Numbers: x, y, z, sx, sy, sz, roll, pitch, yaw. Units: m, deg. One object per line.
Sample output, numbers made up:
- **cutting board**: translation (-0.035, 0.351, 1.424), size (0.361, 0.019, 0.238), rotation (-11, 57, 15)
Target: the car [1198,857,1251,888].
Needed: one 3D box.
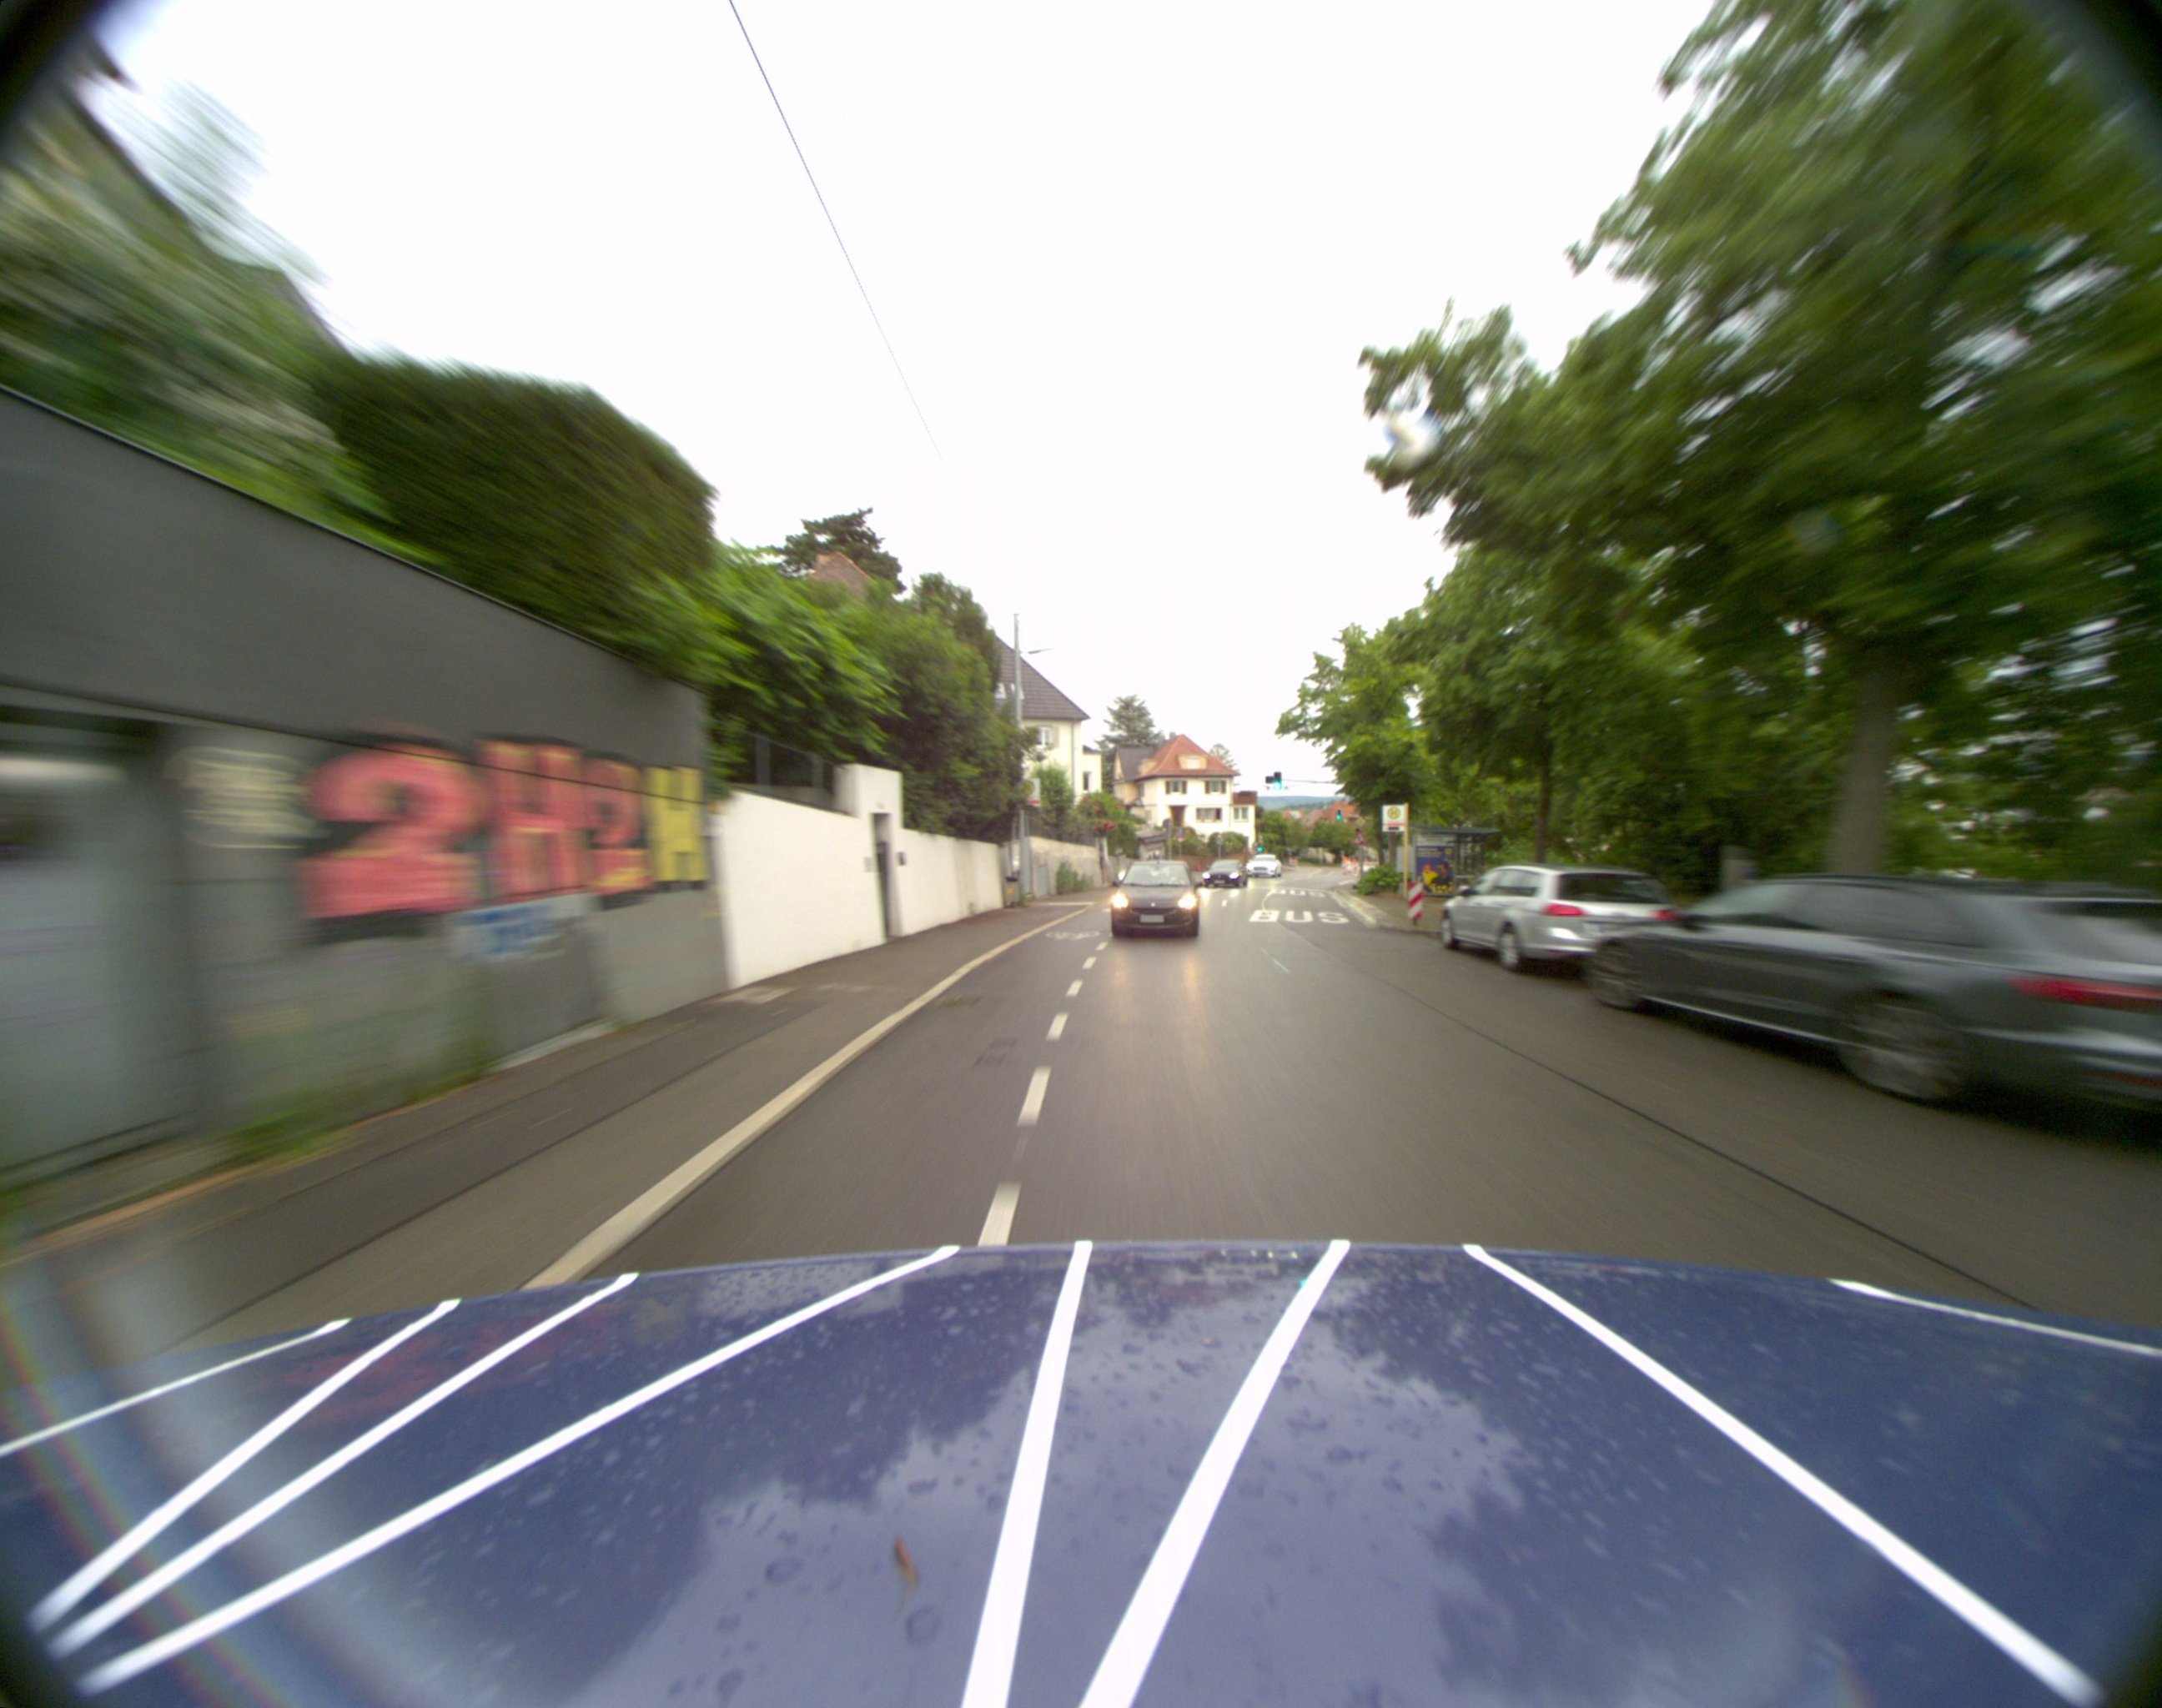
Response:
- **car**: translation (7.615, 0.958, 40.039), size (2.027, 1.454, 4.006), rotation (-1, 0, 20)

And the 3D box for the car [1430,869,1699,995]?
- **car**: translation (6.642, 0.951, 11.065), size (1.658, 1.421, 4.378), rotation (1, -1, 9)

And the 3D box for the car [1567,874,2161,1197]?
- **car**: translation (5.894, 0.946, 5.794), size (1.687, 1.372, 4.502), rotation (2, 1, 4)

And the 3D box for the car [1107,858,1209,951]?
- **car**: translation (1.567, 0.937, 16.032), size (1.803, 1.419, 4.382), rotation (2, 3, 4)

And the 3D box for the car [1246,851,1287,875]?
- **car**: translation (13.501, 0.623, 55.213), size (2.027, 1.619, 4.235), rotation (-1, 0, 26)
